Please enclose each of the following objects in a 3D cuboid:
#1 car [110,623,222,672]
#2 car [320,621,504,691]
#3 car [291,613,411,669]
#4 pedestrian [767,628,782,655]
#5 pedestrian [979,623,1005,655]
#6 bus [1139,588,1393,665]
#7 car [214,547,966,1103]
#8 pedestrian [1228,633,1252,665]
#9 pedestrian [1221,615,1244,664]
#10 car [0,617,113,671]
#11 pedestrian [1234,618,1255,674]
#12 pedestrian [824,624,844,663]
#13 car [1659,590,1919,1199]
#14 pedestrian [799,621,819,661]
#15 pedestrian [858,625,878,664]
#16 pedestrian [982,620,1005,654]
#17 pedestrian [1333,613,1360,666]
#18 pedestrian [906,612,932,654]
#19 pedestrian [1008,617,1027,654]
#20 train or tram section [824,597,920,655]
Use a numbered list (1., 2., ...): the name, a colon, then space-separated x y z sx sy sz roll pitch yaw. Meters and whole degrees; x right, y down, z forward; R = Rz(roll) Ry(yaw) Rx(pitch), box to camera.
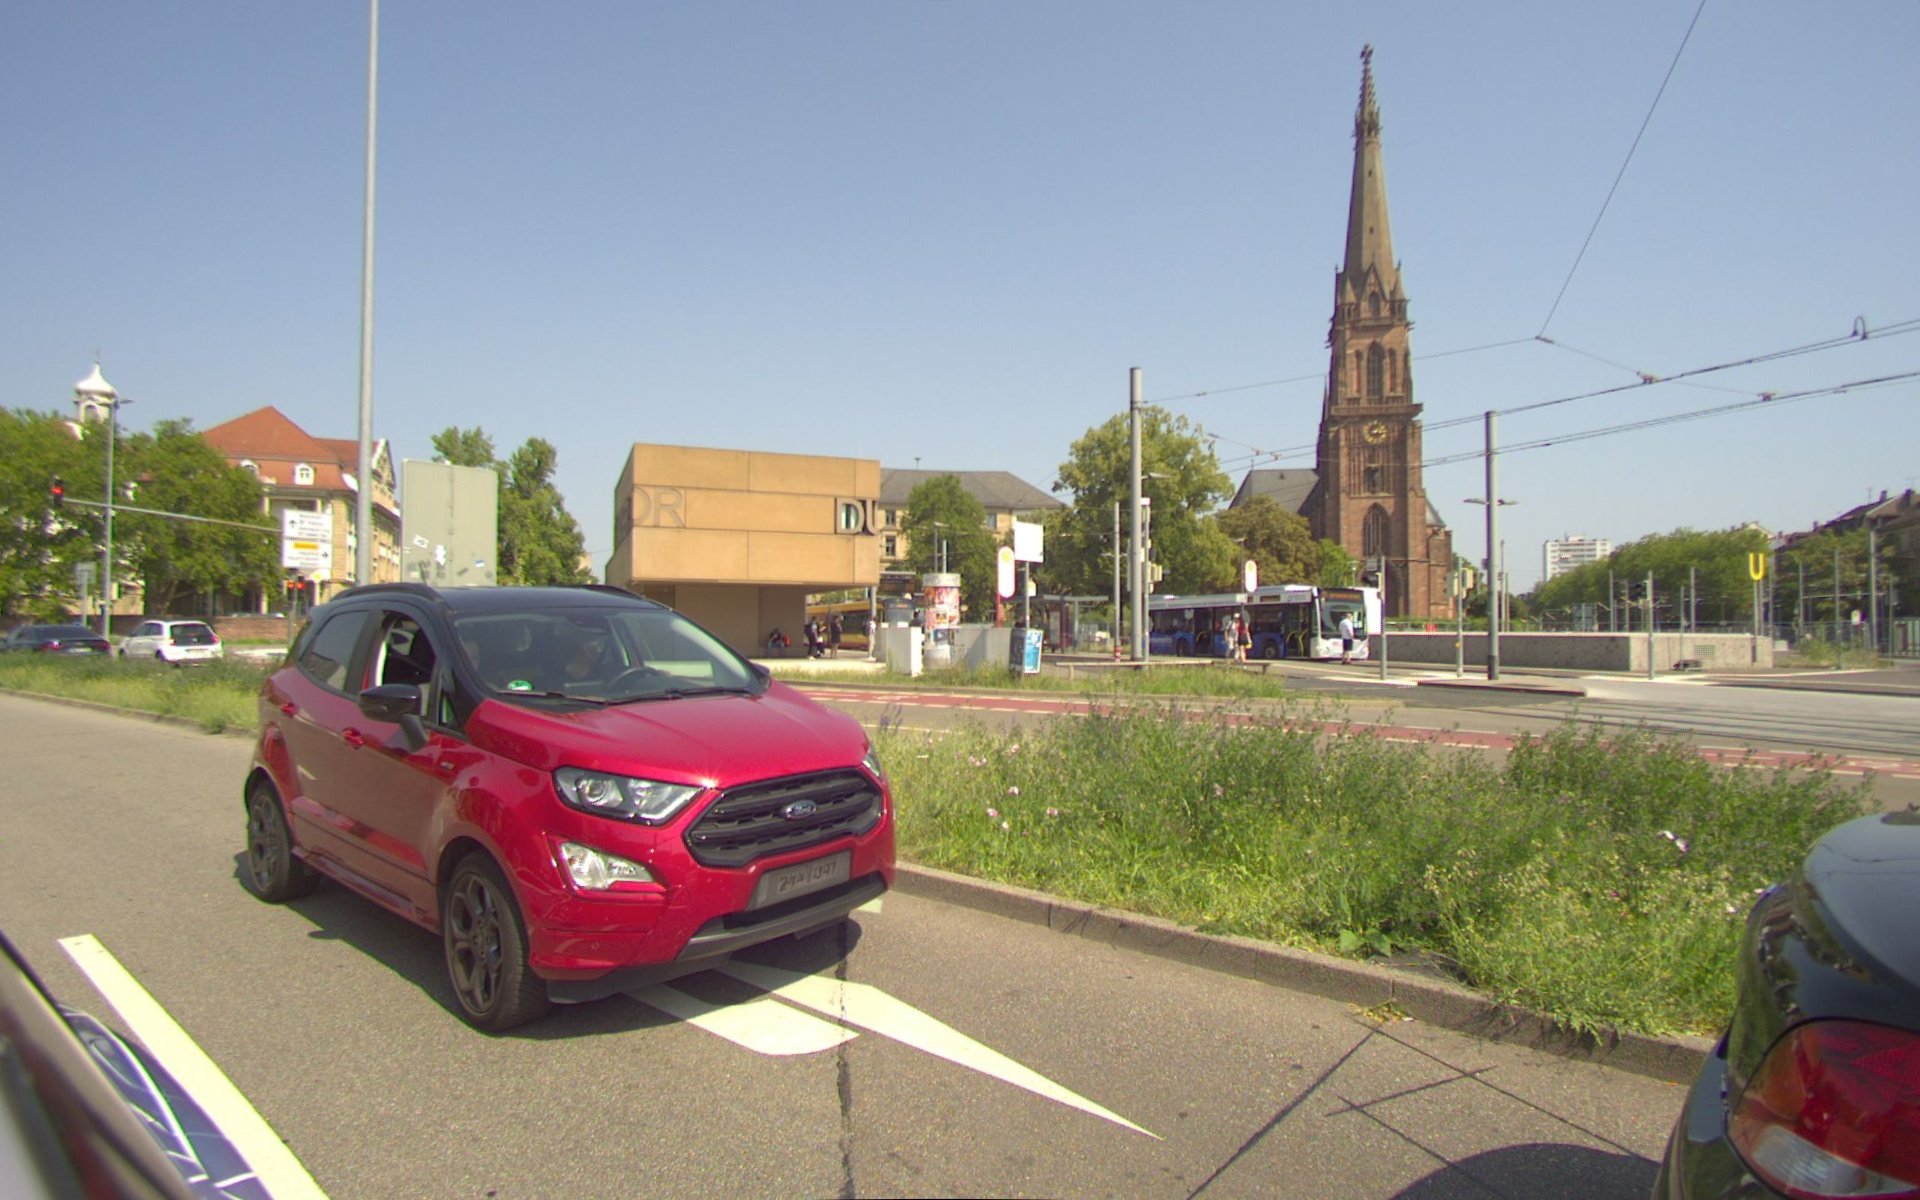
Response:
1. car: -25.218 1.487 32.151 3.461 1.490 1.512 -1 -2 28
2. car: -13.672 1.334 25.202 4.700 1.597 1.978 -1 -2 32
3. car: -21.274 1.394 35.348 3.898 1.868 1.851 0 -2 29
4. pedestrian: -7.468 1.667 40.692 0.530 1.108 0.543 1 -2 -18
5. pedestrian: 1.716 2.111 54.624 1.060 1.709 1.068 1 -2 -21
6. bus: 12.192 1.137 42.531 3.346 2.733 12.382 1 -2 -21
7. car: -1.983 0.680 4.804 3.842 1.598 1.673 -1 -1 40
8. pedestrian: 10.032 1.747 36.220 0.602 1.134 0.629 -1 0 45
9. pedestrian: 9.598 1.389 35.634 0.536 1.724 0.684 -1 -2 40
10. car: -25.647 1.231 28.684 3.466 1.437 1.510 -1 -2 32
11. pedestrian: 9.320 1.504 33.181 0.632 1.825 0.599 -1 0 15
12. pedestrian: -4.948 1.707 39.837 0.541 1.508 0.532 -1 -3 39
13. car: 2.756 0.654 0.428 1.745 1.398 3.783 0 -1 -45
14. pedestrian: -5.814 1.584 38.984 0.541 1.508 0.532 -1 -3 39
15. pedestrian: -3.617 1.735 39.783 0.541 1.508 0.532 -1 -3 39
16. pedestrian: 1.809 1.994 54.640 0.913 1.837 0.940 1 -2 -21
17. pedestrian: 13.457 1.355 35.247 0.592 1.825 0.640 -1 0 -36
18. pedestrian: -1.503 1.218 36.924 0.605 1.508 0.761 -1 -3 39
19. pedestrian: 2.865 1.773 50.247 0.792 1.837 0.535 1 -2 -21
20. train or tram section: -6.124 1.774 67.153 2.658 3.465 13.464 1 -2 -21
